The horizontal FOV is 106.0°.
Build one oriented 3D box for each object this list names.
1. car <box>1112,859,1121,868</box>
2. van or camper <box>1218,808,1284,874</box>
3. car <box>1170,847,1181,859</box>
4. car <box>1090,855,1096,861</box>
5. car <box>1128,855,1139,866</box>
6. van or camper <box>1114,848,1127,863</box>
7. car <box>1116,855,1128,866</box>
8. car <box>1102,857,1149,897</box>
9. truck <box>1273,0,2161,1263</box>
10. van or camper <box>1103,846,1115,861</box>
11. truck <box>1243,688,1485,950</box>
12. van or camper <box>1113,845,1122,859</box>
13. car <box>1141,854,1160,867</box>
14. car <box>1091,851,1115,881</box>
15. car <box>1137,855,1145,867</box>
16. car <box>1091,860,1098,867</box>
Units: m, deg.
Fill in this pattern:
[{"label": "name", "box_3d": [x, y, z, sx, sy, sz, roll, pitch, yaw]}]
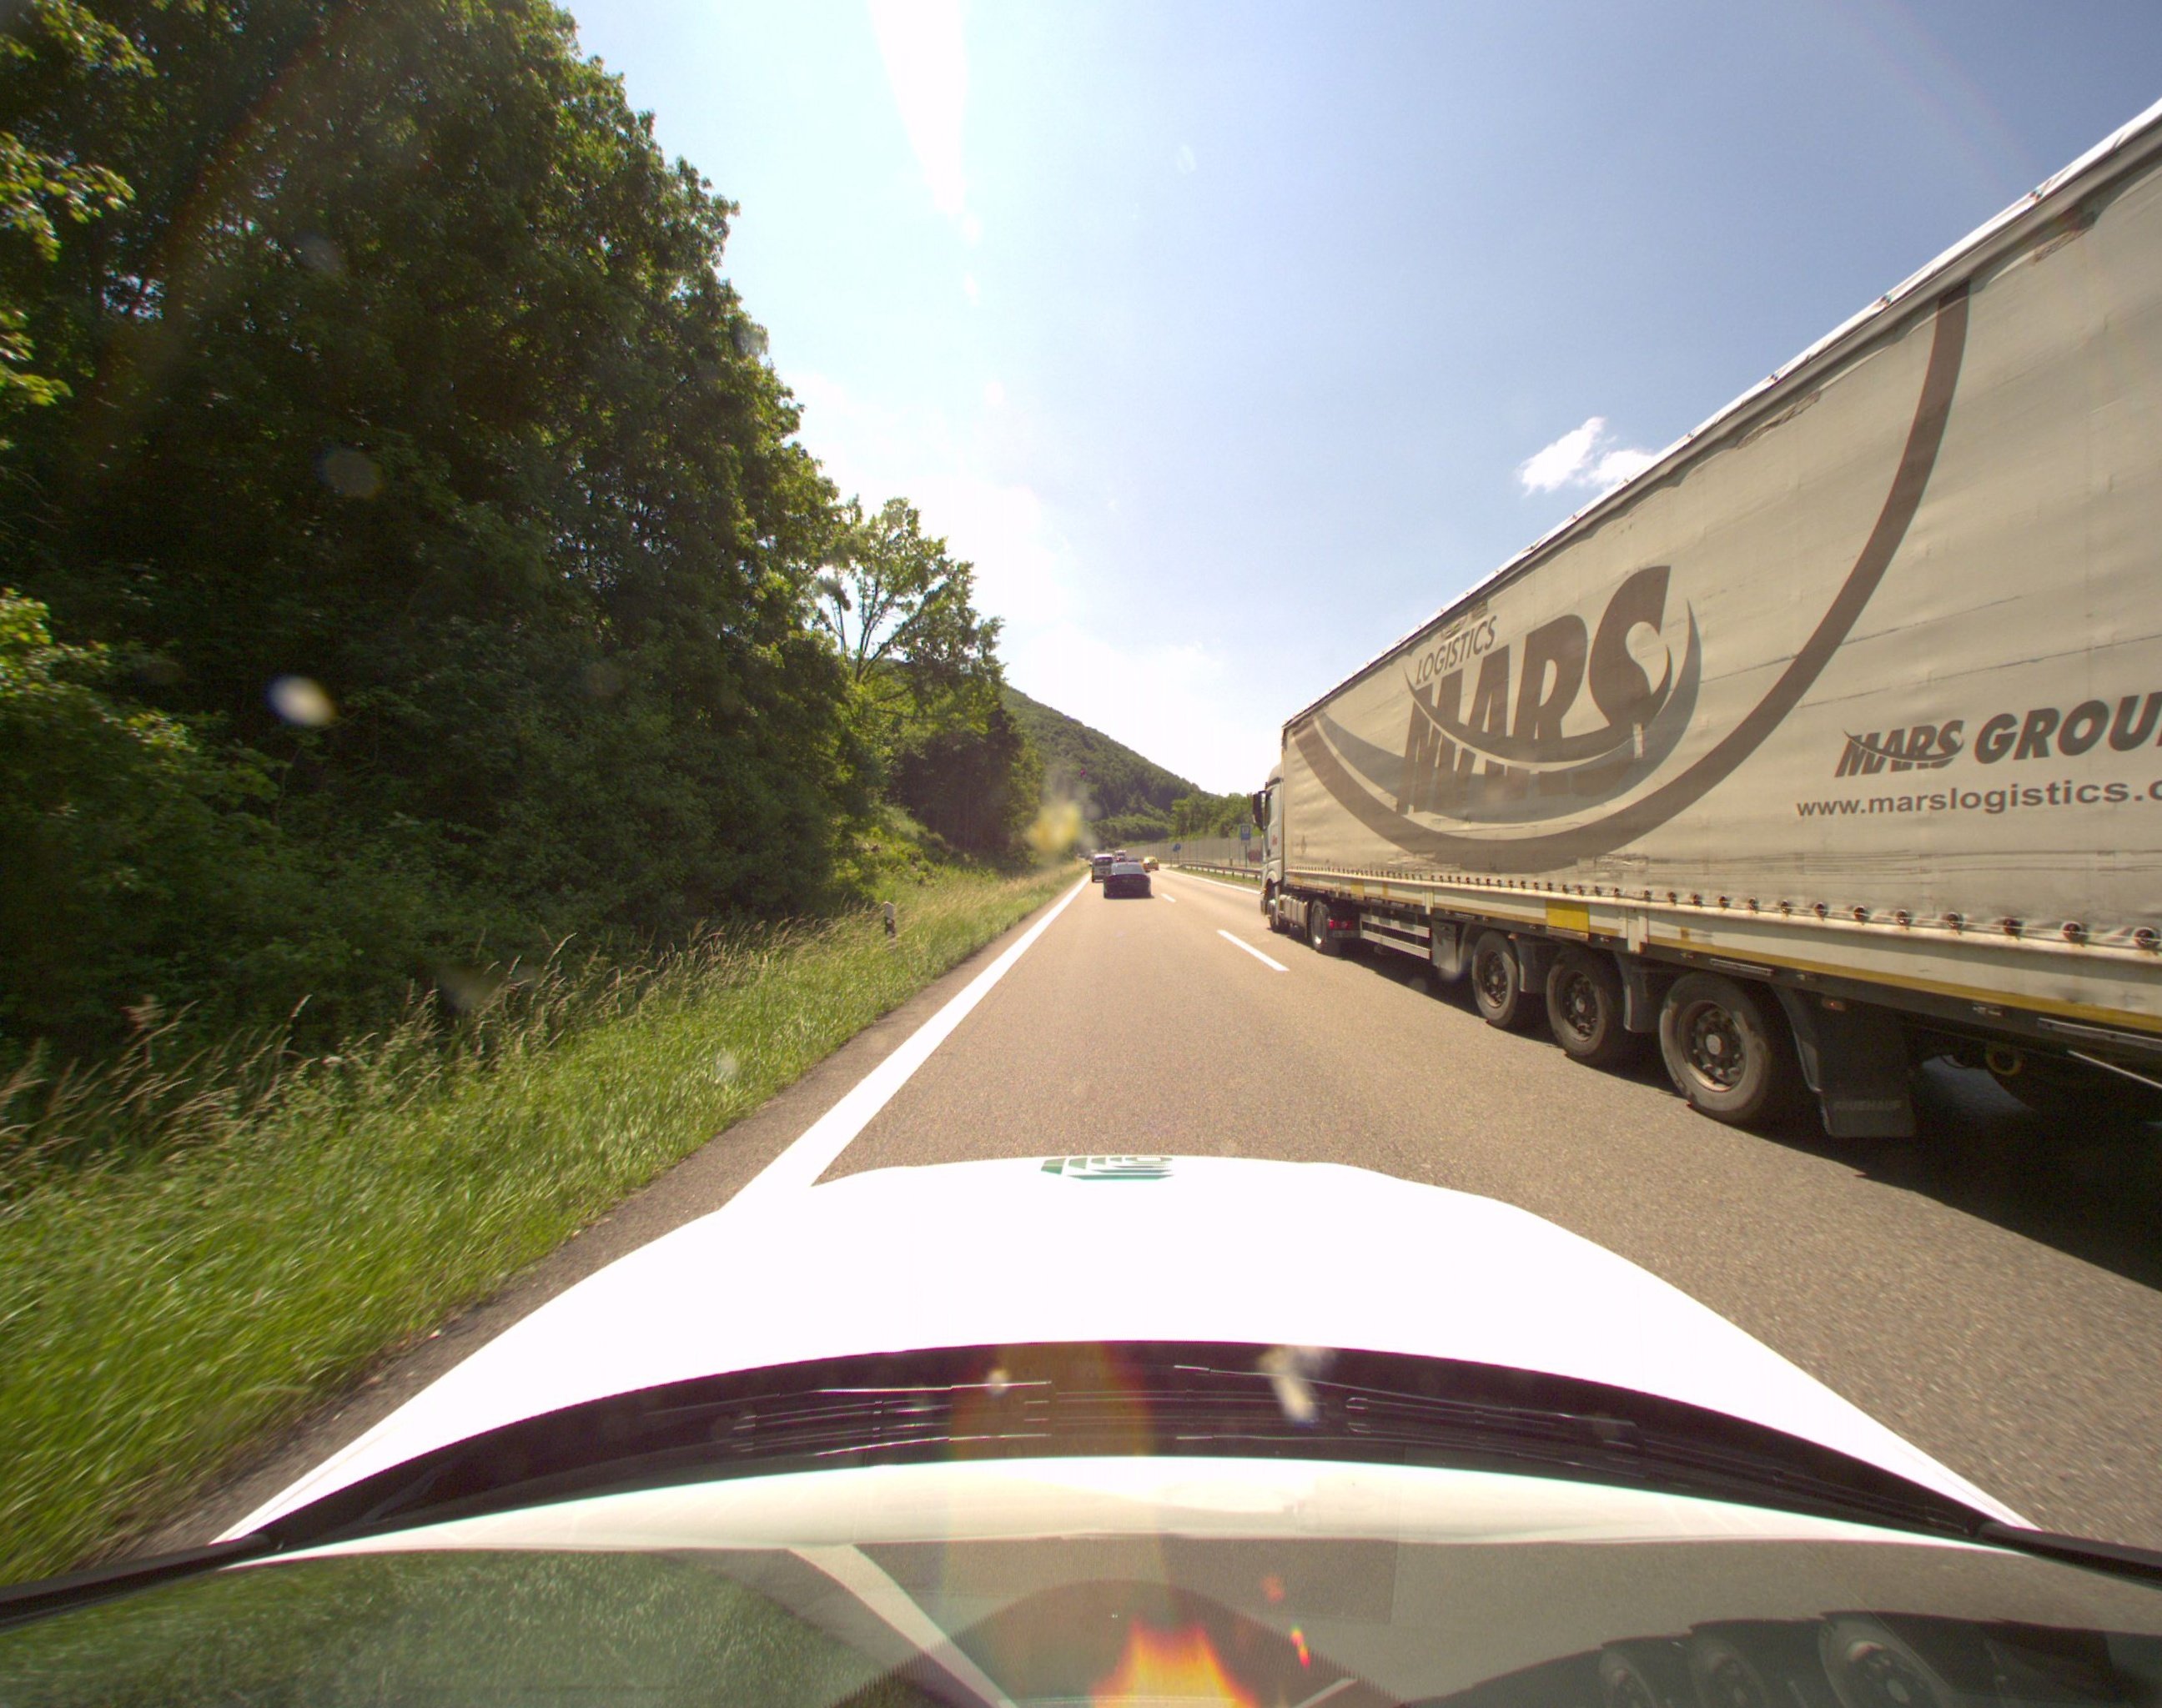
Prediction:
[{"label": "car", "box_3d": [6.455, 1.737, 149.198, 1.524, 1.525, 3.598, 2, -1, 2]}, {"label": "van or camper", "box_3d": [10.659, -0.708, 51.622, 2.786, 3.842, 6.165, 2, -1, 0]}, {"label": "car", "box_3d": [15.170, -0.152, 131.087, 1.570, 2.014, 3.429, 0, 0, 2]}, {"label": "car", "box_3d": [3.163, 1.114, 219.735, 1.483, 1.496, 3.591, 2, -1, 2]}, {"label": "car", "box_3d": [7.925, 1.036, 123.918, 1.524, 1.525, 3.598, 2, -1, 2]}, {"label": "van or camper", "box_3d": [8.470, 0.387, 174.801, 2.420, 3.155, 5.205, 2, -1, 2]}, {"label": "car", "box_3d": [8.078, 1.370, 160.423, 2.079, 2.014, 4.001, 2, -1, 1]}, {"label": "car", "box_3d": [1.766, 0.881, 33.150, 1.805, 1.514, 3.515, 0, 0, 1]}, {"label": "truck", "box_3d": [4.885, -0.623, 8.536, 2.716, 4.068, 13.742, 1, -1, 1]}, {"label": "van or camper", "box_3d": [7.649, -0.061, 221.610, 2.786, 3.907, 6.165, 2, -1, 0]}, {"label": "truck", "box_3d": [5.019, -0.507, 15.648, 2.709, 4.068, 5.755, 1, -1, 1]}, {"label": "van or camper", "box_3d": [10.921, -0.572, 244.781, 2.439, 3.689, 6.590, 2, -1, 2]}, {"label": "car", "box_3d": [7.735, 0.726, 90.662, 1.872, 1.499, 4.002, 0, -1, 2]}, {"label": "car", "box_3d": [1.477, 0.822, 55.819, 1.515, 1.968, 3.515, 3, -1, 1]}, {"label": "car", "box_3d": [12.536, 1.496, 169.431, 1.524, 2.403, 3.598, 2, -1, 2]}, {"label": "car", "box_3d": [3.318, 2.318, 195.597, 1.483, 1.665, 3.591, 2, -1, 2]}]
